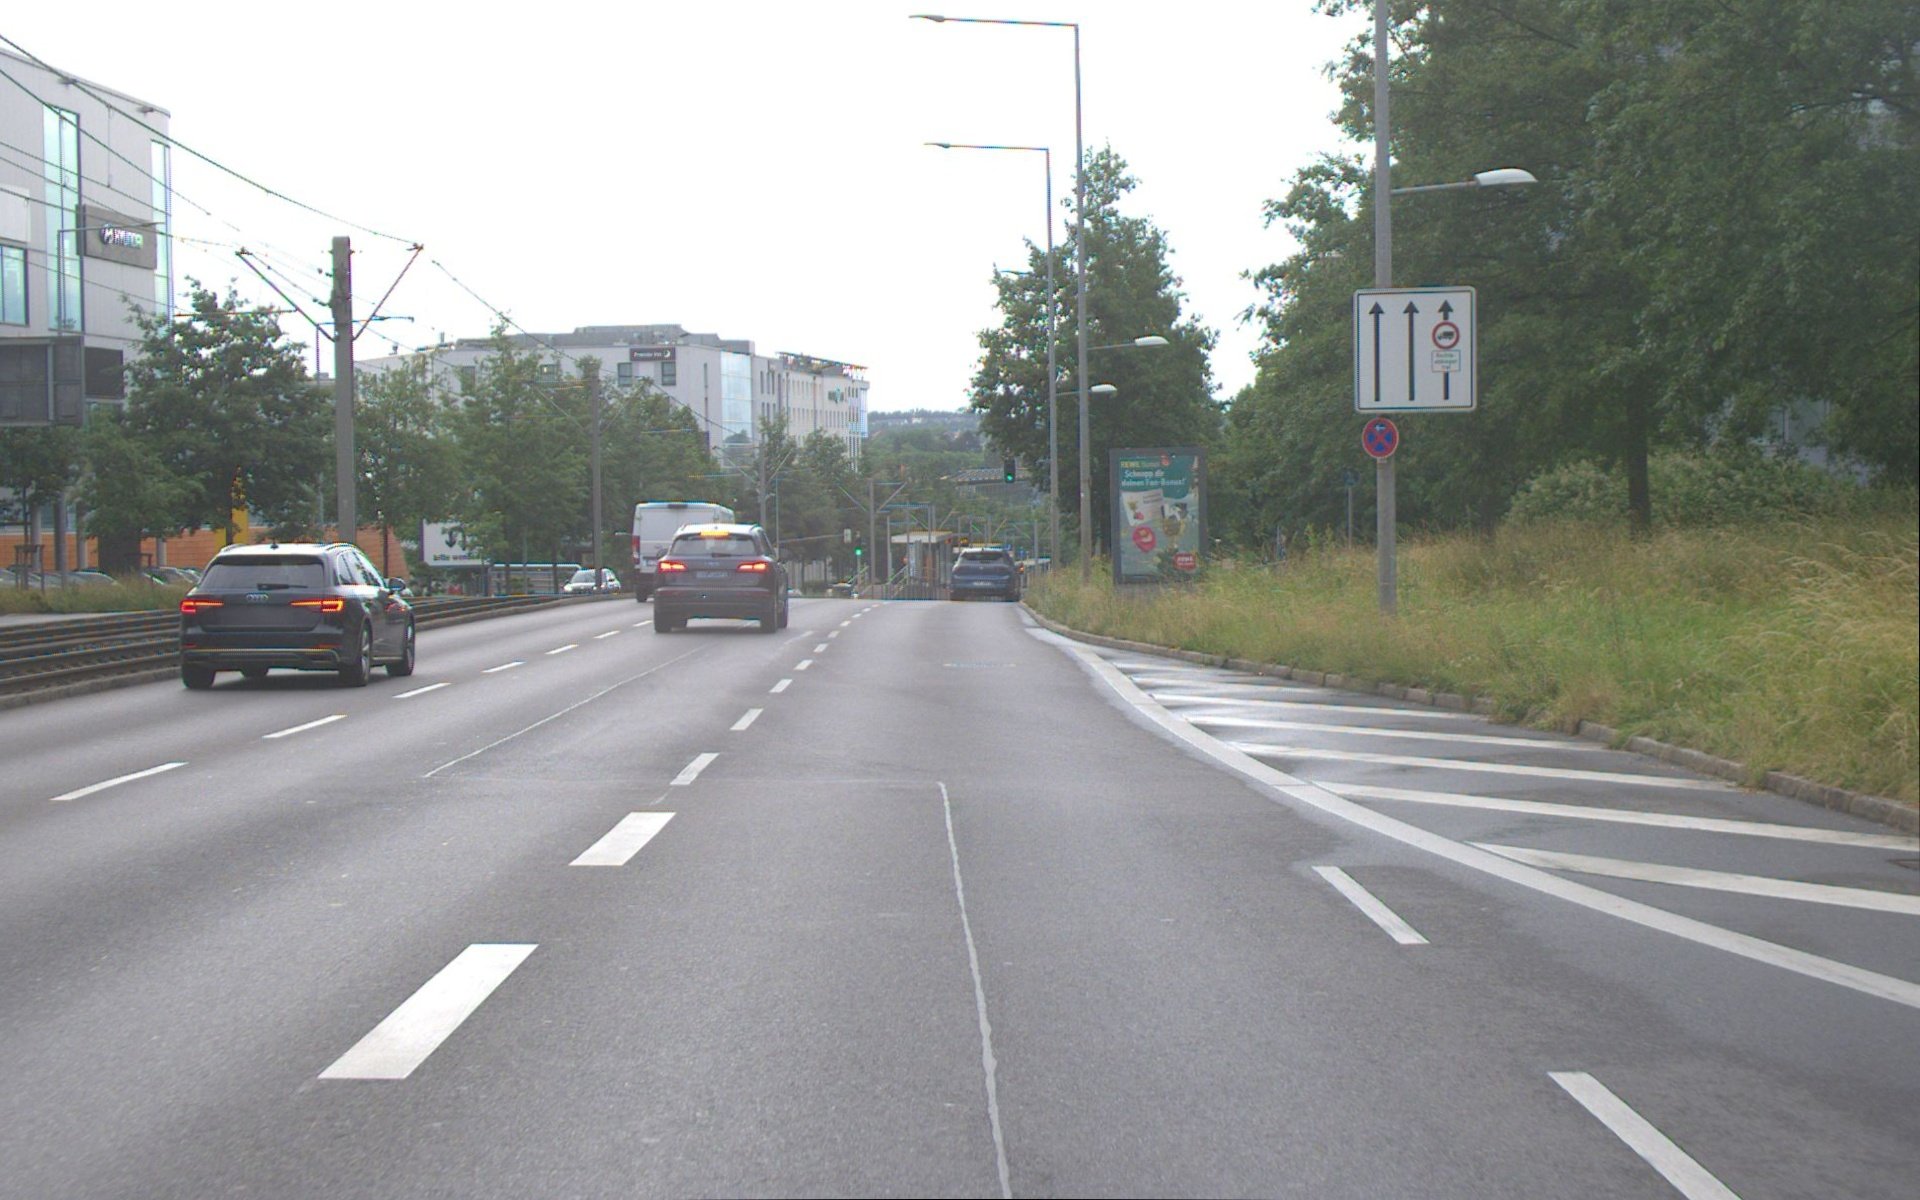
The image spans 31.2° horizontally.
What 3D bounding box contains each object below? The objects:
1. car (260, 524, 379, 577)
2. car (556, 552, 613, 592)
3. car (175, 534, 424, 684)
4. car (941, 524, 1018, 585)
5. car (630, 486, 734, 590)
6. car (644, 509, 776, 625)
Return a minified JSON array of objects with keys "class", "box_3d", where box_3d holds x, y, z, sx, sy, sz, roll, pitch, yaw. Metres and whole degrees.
[{"class":"car","box_3d":[-29.520,-2.287,158.599,5.302,2.305,2.020,1,-1,-8]},{"class":"car","box_3d":[-15.331,-1.121,140.434,1.658,1.544,3.999,1,-1,3]},{"class":"car","box_3d":[-6.670,0.043,35.185,1.785,1.409,4.806,1,1,-2]},{"class":"car","box_3d":[0.503,-1.246,94.049,1.789,1.585,4.001,-1,1,-4]},{"class":"car","box_3d":[-6.335,-1.420,78.824,2.267,2.277,4.760,1,1,-4]},{"class":"car","box_3d":[-3.846,-0.536,53.056,1.922,1.704,4.099,1,1,-4]}]
